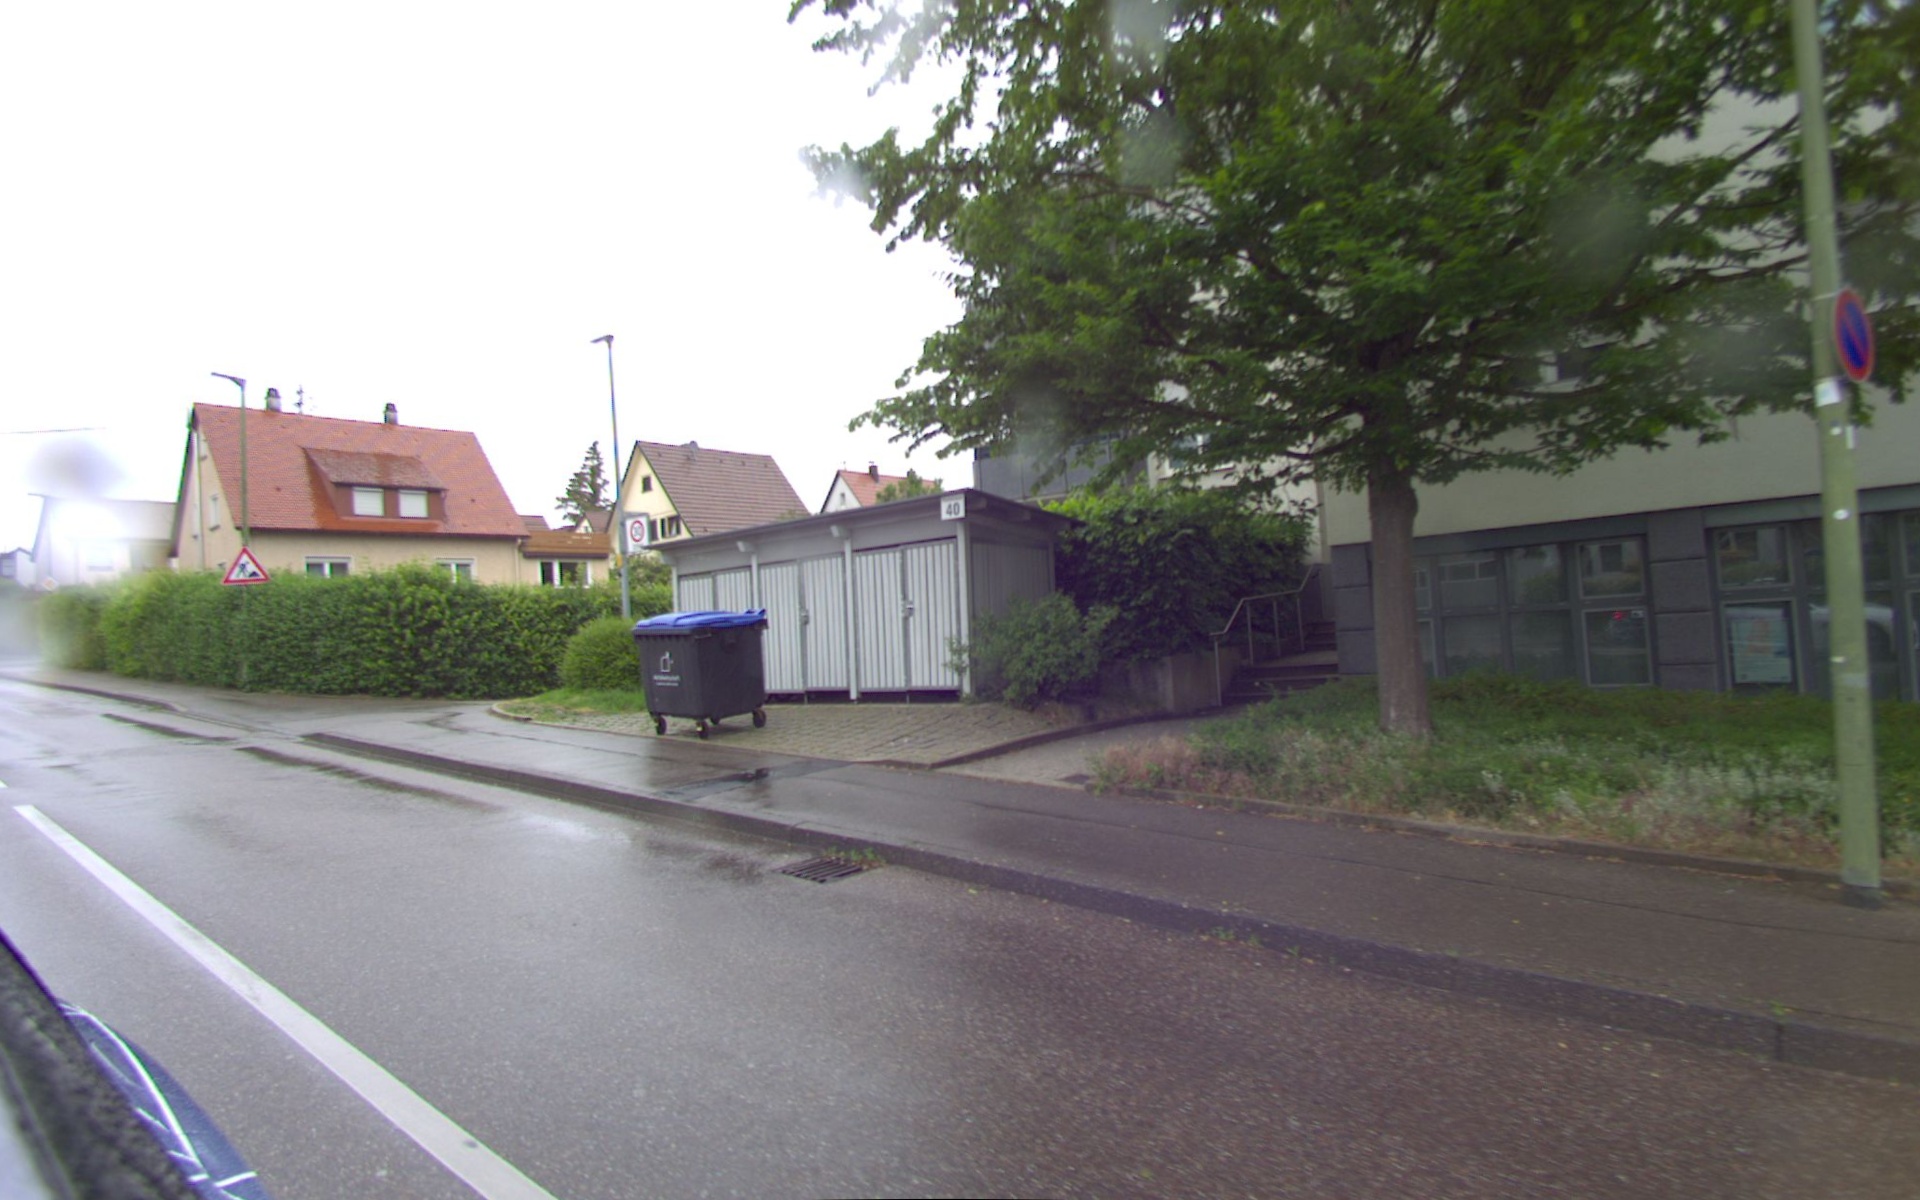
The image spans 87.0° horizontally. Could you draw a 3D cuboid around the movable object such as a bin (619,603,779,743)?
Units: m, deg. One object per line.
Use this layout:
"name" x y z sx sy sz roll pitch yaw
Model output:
"movable object such as a bin" -2.829 0.753 10.984 1.317 1.357 1.061 -2 1 39
